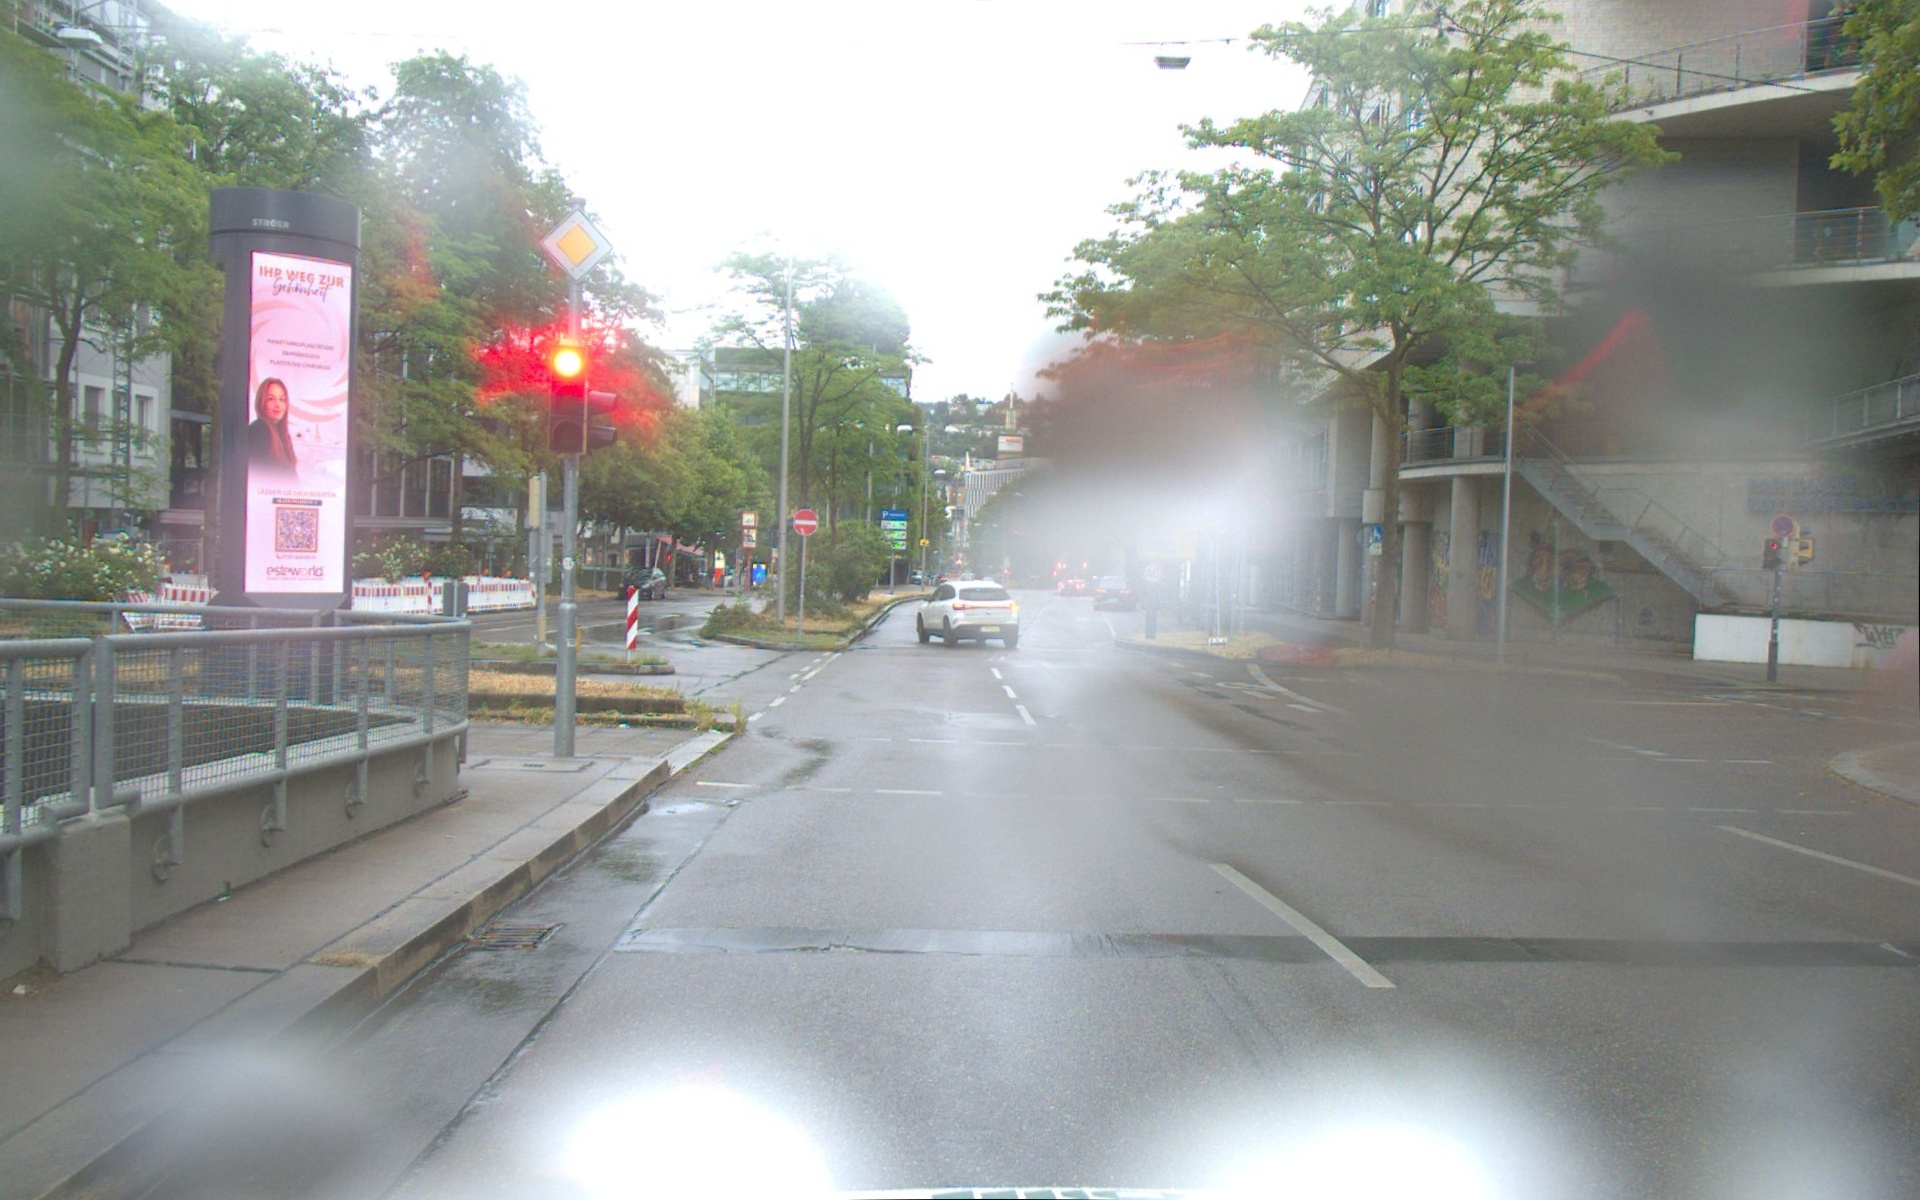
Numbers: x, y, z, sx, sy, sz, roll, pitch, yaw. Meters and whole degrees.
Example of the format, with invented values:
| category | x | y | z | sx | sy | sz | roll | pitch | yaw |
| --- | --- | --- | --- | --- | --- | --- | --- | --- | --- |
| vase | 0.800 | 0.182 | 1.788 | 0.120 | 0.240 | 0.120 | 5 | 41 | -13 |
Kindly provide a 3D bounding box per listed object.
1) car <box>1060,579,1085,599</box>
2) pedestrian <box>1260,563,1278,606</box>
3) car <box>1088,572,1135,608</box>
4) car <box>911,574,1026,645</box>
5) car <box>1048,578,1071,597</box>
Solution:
| category | x | y | z | sx | sy | sz | roll | pitch | yaw |
| --- | --- | --- | --- | --- | --- | --- | --- | --- | --- |
| car | 10.390 | -1.023 | 153.283 | 1.953 | 1.754 | 3.999 | 1 | 0 | -2 |
| pedestrian | 14.282 | -0.701 | 76.500 | 0.759 | 1.954 | 0.703 | 1 | -1 | 9 |
| car | 7.673 | -0.506 | 83.548 | 2.288 | 1.720 | 4.003 | 1 | 1 | 6 |
| car | 0.154 | 0.200 | 42.332 | 1.799 | 1.668 | 4.282 | 2 | 0 | -16 |
| car | 10.037 | -1.242 | 166.972 | 1.953 | 1.766 | 3.999 | 1 | 0 | -1 |
